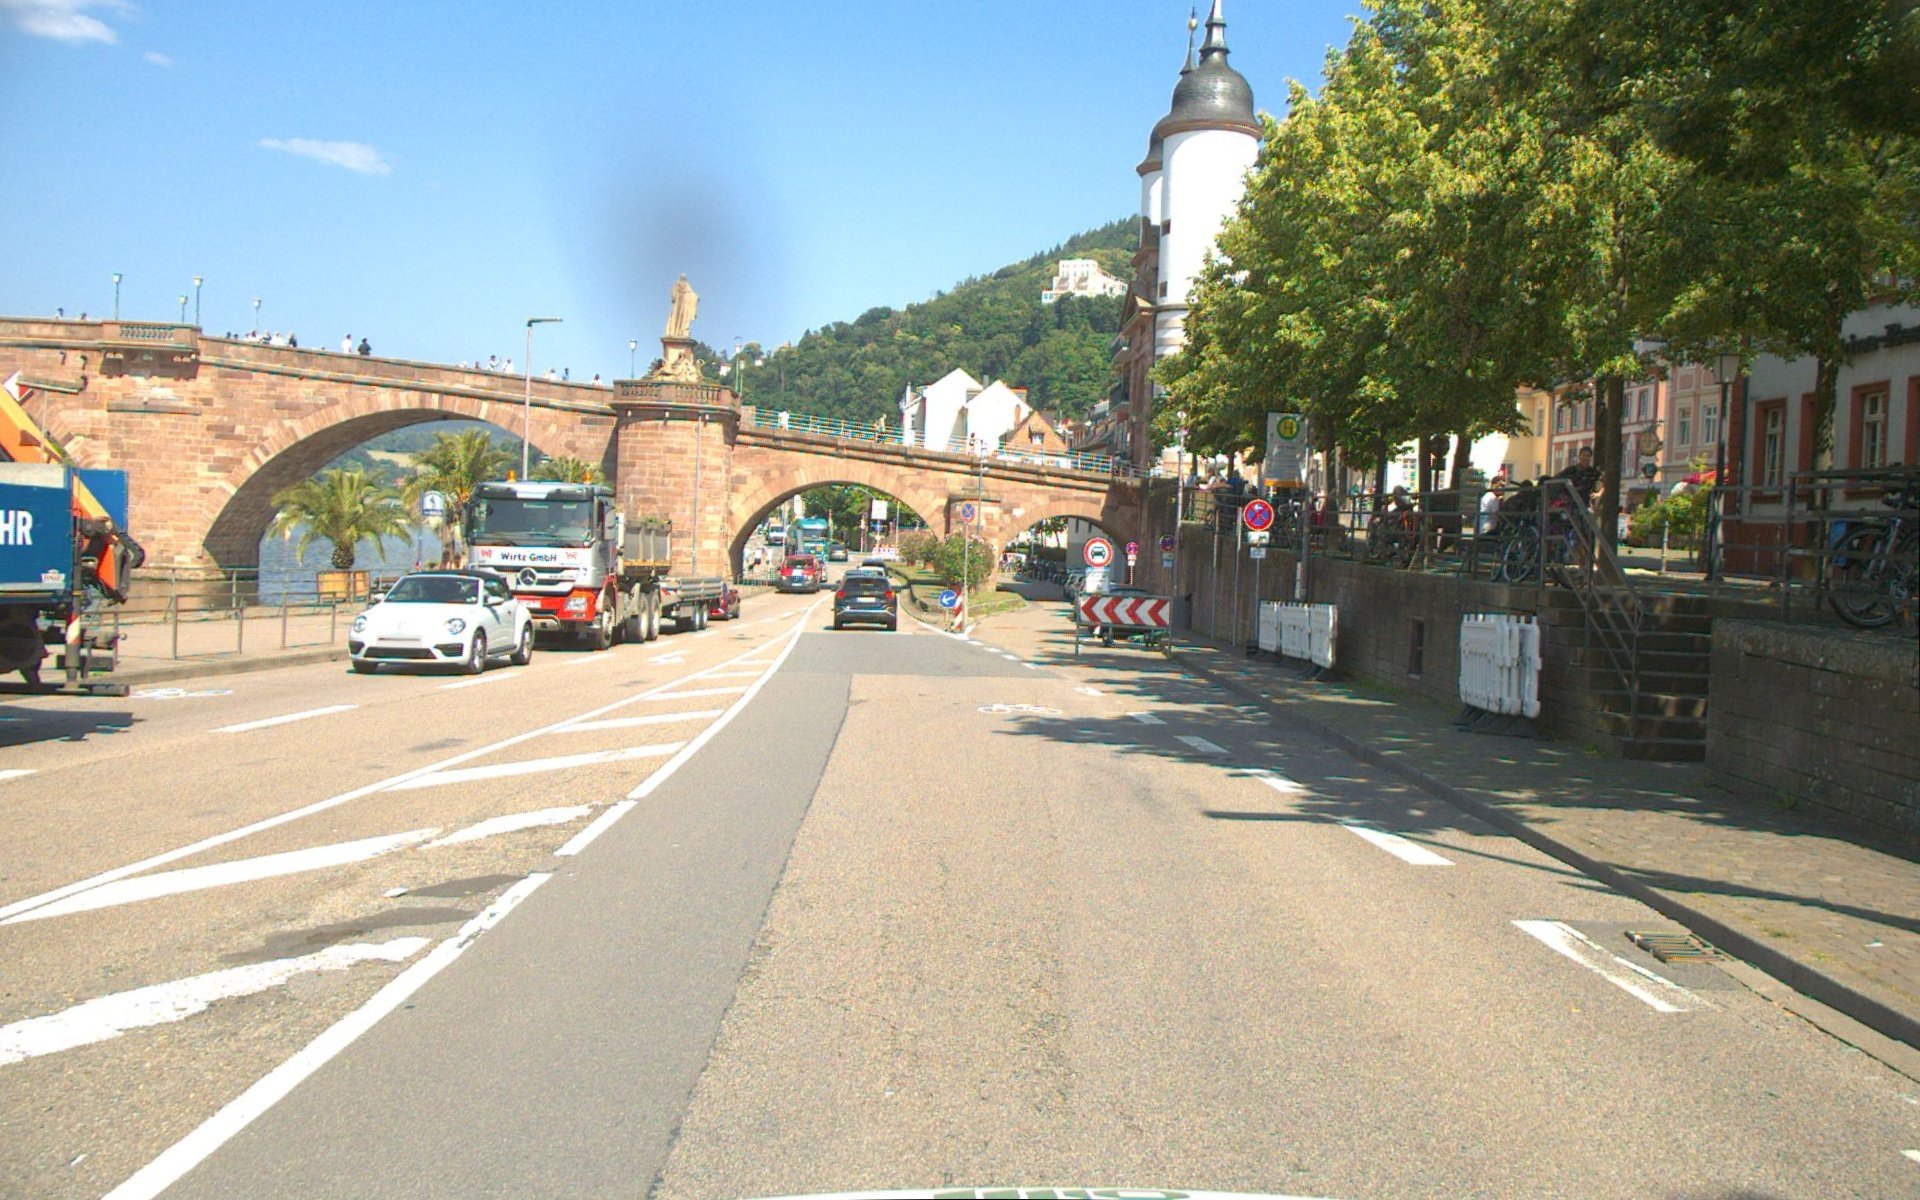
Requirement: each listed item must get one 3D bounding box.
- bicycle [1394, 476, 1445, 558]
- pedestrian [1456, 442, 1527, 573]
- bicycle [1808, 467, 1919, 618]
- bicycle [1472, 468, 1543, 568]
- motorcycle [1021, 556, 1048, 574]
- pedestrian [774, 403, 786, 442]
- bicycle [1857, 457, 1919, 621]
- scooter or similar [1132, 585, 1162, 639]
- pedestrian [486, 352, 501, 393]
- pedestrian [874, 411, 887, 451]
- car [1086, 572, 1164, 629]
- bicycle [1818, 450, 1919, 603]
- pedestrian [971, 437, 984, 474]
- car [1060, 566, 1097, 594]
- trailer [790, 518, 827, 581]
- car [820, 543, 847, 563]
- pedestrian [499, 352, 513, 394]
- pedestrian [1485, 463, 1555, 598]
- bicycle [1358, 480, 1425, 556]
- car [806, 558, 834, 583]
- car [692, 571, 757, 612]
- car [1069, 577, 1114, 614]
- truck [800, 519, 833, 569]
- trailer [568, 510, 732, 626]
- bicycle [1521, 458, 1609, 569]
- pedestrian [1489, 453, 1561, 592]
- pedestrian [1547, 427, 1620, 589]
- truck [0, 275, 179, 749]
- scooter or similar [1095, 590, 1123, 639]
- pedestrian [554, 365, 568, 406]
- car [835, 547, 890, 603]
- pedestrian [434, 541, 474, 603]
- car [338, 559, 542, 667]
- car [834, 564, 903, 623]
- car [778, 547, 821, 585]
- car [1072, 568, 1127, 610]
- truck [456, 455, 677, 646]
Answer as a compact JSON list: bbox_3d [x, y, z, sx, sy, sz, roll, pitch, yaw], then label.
[{"bbox_3d":[6.568,-1.170,23.702,0.401,1.125,1.736,1,1,6],"label":"bicycle"},{"bbox_3d":[7.243,-1.250,22.565,0.703,1.750,0.711,1,1,1],"label":"pedestrian"},{"bbox_3d":[6.893,-0.389,11.519,1.816,1.022,0.299,1,2,-2],"label":"bicycle"},{"bbox_3d":[6.458,-0.948,19.553,0.401,1.125,1.736,1,1,6],"label":"bicycle"},{"bbox_3d":[5.660,-2.660,125.383,2.178,1.289,0.619,0,3,-41],"label":"motorcycle"},{"bbox_3d":[-9.752,-9.619,89.804,0.569,2.048,0.586,1,1,-2],"label":"pedestrian"},{"bbox_3d":[6.121,-0.370,10.060,0.292,1.022,1.860,1,2,0],"label":"bicycle"},{"bbox_3d":[4.479,0.278,39.517,0.520,1.251,1.272,1,1,15],"label":"scooter or similar"},{"bbox_3d":[-24.220,-11.823,85.897,0.612,2.048,0.694,1,1,-9],"label":"pedestrian"},{"bbox_3d":[-4.160,-8.848,86.720,0.611,2.048,0.695,1,1,-1],"label":"pedestrian"},{"bbox_3d":[4.617,-0.031,46.905,1.805,1.475,4.536,2,1,1],"label":"car"},{"bbox_3d":[7.451,-0.572,12.996,0.374,1.160,1.934,1,2,0],"label":"bicycle"},{"bbox_3d":[0.957,-8.038,92.082,0.670,2.048,0.586,1,1,-2],"label":"pedestrian"},{"bbox_3d":[6.900,-1.198,96.649,1.854,1.518,4.418,1,2,1],"label":"car"},{"bbox_3d":[-8.200,-2.750,89.865,1.706,3.378,3.384,0,1,-1],"label":"trailer"},{"bbox_3d":[-11.003,-4.116,143.616,1.823,1.691,3.989,0,2,-12],"label":"car"},{"bbox_3d":[-23.637,-11.815,86.092,0.612,2.048,0.694,1,1,-9],"label":"pedestrian"},{"bbox_3d":[7.429,-0.914,21.950,0.703,1.750,0.573,1,1,1],"label":"pedestrian"},{"bbox_3d":[6.677,-1.250,25.676,0.402,1.125,1.732,1,1,-6],"label":"bicycle"},{"bbox_3d":[-8.753,-1.862,103.516,1.504,1.461,3.727,0,2,-2],"label":"car"},{"bbox_3d":[-7.450,-0.292,52.552,1.637,1.215,3.628,0,1,-2],"label":"car"},{"bbox_3d":[5.258,-0.198,65.774,1.674,1.412,4.411,1,1,6],"label":"car"},{"bbox_3d":[-11.251,-4.421,129.997,2.474,3.813,6.243,0,3,-4],"label":"truck"},{"bbox_3d":[-7.801,-0.807,42.541,2.642,2.574,6.948,4,1,1],"label":"trailer"},{"bbox_3d":[6.504,-0.905,17.860,0.401,1.125,1.925,1,1,6],"label":"bicycle"},{"bbox_3d":[7.281,-0.992,21.325,0.703,1.750,0.573,1,1,1],"label":"pedestrian"},{"bbox_3d":[8.730,-1.276,23.174,0.703,2.227,0.711,1,1,1],"label":"pedestrian"},{"bbox_3d":[-8.590,-0.609,9.382,2.587,3.536,11.112,1,1,2],"label":"truck"},{"bbox_3d":[3.509,0.335,38.878,0.520,1.108,1.440,1,1,10],"label":"scooter or similar"},{"bbox_3d":[-20.755,-11.151,85.977,0.612,2.048,0.694,1,1,-9],"label":"pedestrian"},{"bbox_3d":[-3.719,-0.974,63.590,1.953,2.048,3.999,1,1,-2],"label":"car"},{"bbox_3d":[-14.597,-0.808,47.700,0.790,1.721,0.833,1,2,-43],"label":"pedestrian"},{"bbox_3d":[-7.771,0.151,25.102,1.741,1.469,3.998,1,1,1],"label":"car"},{"bbox_3d":[-2.547,-0.214,46.644,1.819,1.550,3.999,1,1,-2],"label":"car"},{"bbox_3d":[-8.177,-1.751,84.378,1.836,1.859,4.543,0,2,-1],"label":"car"},{"bbox_3d":[5.165,-0.435,61.584,1.676,1.483,3.547,2,1,-1],"label":"car"},{"bbox_3d":[-7.918,-0.975,34.391,2.587,3.517,7.873,0,1,1],"label":"truck"}]
